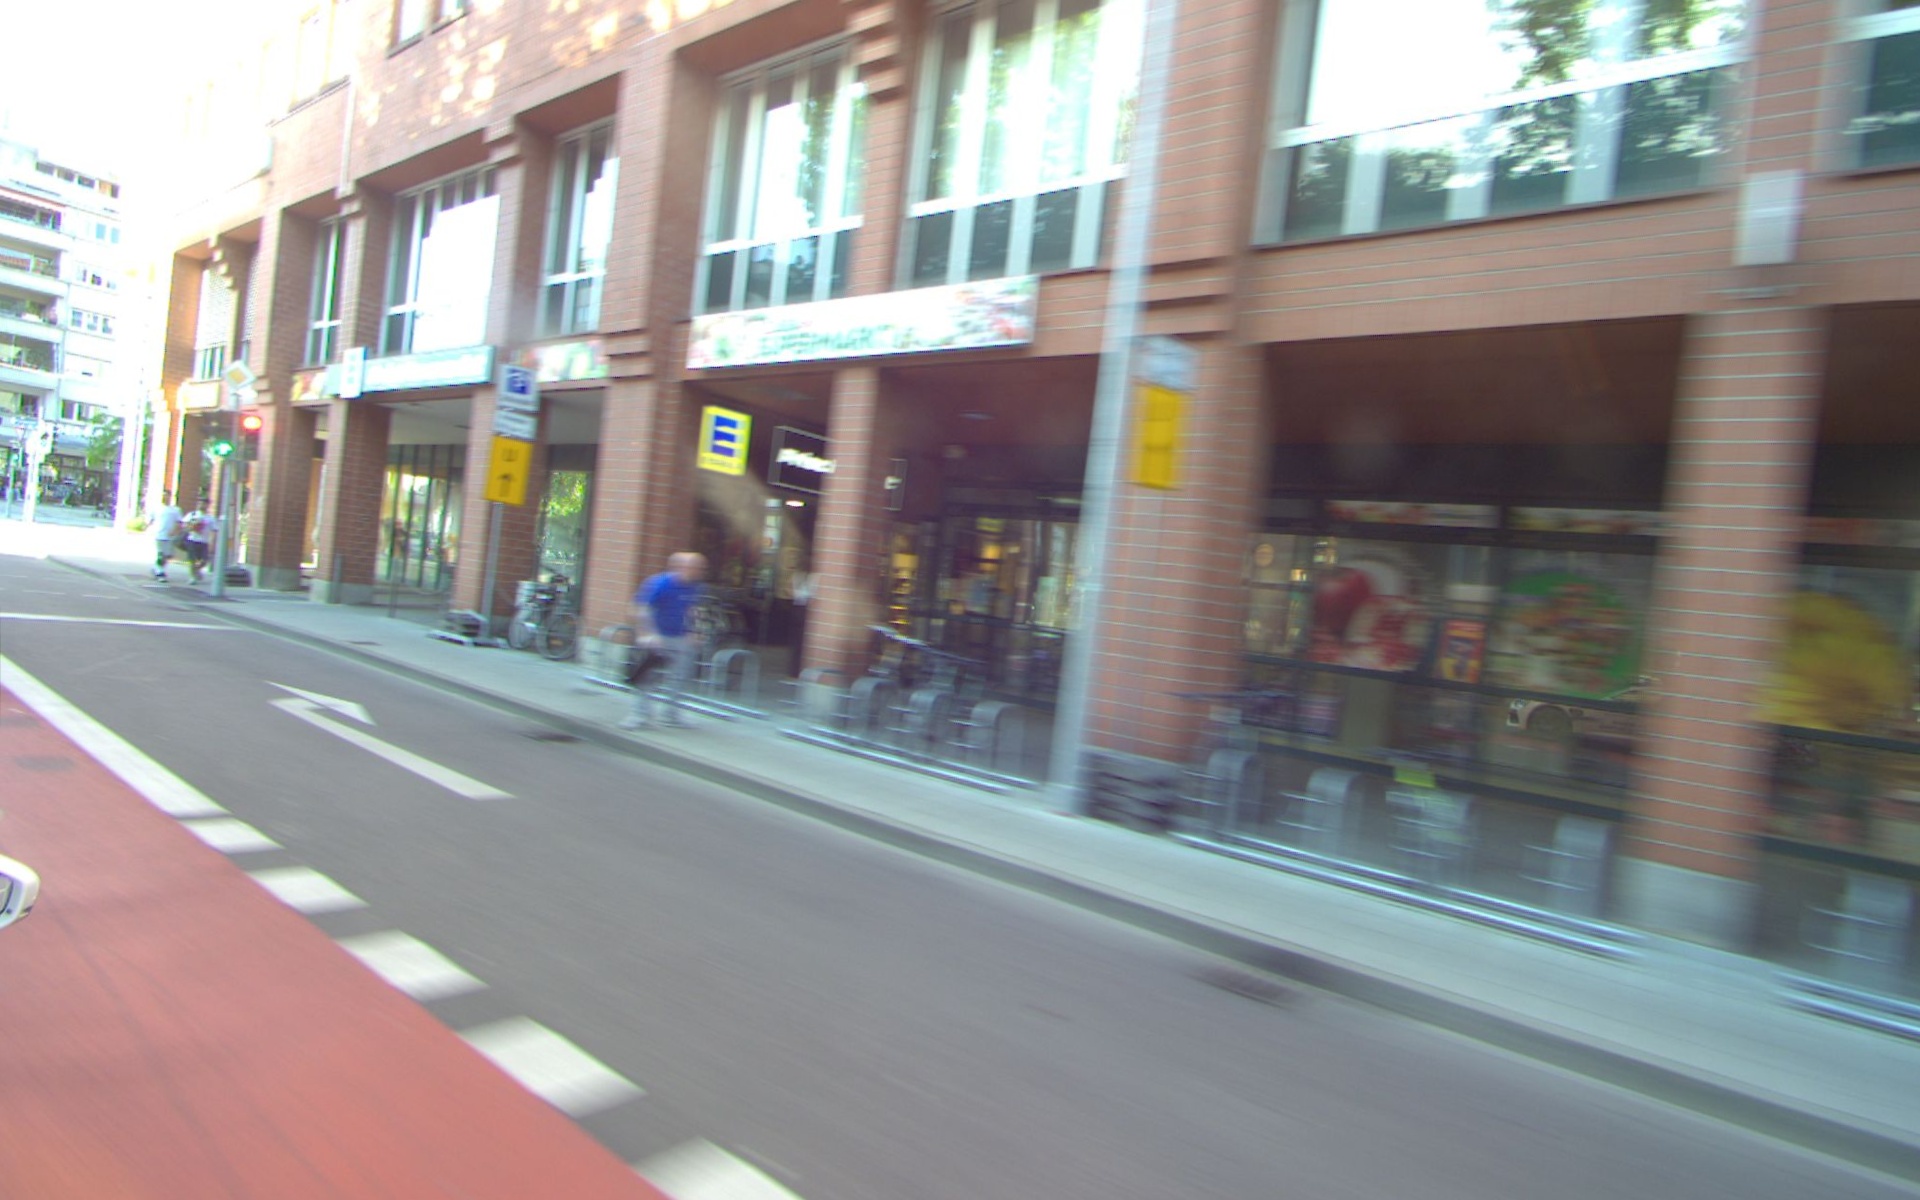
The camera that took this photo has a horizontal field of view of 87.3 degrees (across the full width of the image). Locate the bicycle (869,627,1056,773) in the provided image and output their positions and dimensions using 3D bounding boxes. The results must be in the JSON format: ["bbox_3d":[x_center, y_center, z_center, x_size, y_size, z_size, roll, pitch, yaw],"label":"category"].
[{"bbox_3d":[0.074,0.878,9.050,0.542,1.133,1.890,7,1,38],"label":"bicycle"}]

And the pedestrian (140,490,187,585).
[{"bbox_3d":[-15.816,-1.241,19.981,0.533,1.815,0.475,7,1,38],"label":"pedestrian"}]

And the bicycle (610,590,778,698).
[{"bbox_3d":[-3.030,0.536,11.651,0.467,1.133,1.890,7,1,38],"label":"bicycle"}]

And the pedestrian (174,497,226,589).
[{"bbox_3d":[-15.231,-1.136,20.165,0.631,1.746,0.622,6,1,-43],"label":"pedestrian"}]

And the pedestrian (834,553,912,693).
[{"bbox_3d":[-1.185,0.315,13.738,0.599,1.818,0.659,7,1,34],"label":"pedestrian"}]

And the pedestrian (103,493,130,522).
[{"bbox_3d":[-45.940,-5.031,54.787,0.711,1.438,0.924,7,1,-20],"label":"pedestrian"}]

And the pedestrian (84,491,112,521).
[{"bbox_3d":[-47.007,-5.136,54.888,0.710,1.464,0.926,7,1,-16],"label":"pedestrian"}]

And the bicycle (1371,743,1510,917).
[{"bbox_3d":[3.115,1.423,6.471,0.418,0.852,1.331,7,3,39],"label":"bicycle"}]

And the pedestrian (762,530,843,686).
[{"bbox_3d":[-2.149,0.118,13.729,0.650,2.039,0.608,7,1,32],"label":"pedestrian"}]

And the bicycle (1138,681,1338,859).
[{"bbox_3d":[2.109,1.177,7.446,0.564,1.071,1.928,7,2,41],"label":"bicycle"}]

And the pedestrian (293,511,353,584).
[{"bbox_3d":[-15.147,-1.234,23.941,0.741,1.609,0.845,7,1,-2],"label":"pedestrian"}]

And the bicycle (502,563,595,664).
[{"bbox_3d":[-5.676,0.168,13.816,1.654,1.198,0.339,7,1,40],"label":"bicycle"}]

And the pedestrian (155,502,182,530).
[{"bbox_3d":[-43.934,-4.689,55.839,1.089,1.382,0.719,8,1,30],"label":"pedestrian"}]

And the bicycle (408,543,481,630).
[{"bbox_3d":[-8.605,-0.243,16.764,1.685,1.272,0.339,7,1,40],"label":"bicycle"}]

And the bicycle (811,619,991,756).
[{"bbox_3d":[-0.504,0.819,9.501,0.467,1.133,1.890,7,1,38],"label":"bicycle"}]

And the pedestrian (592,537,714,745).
[{"bbox_3d":[-2.770,0.340,9.144,0.871,1.719,1.194,5,2,-16],"label":"pedestrian"}]
